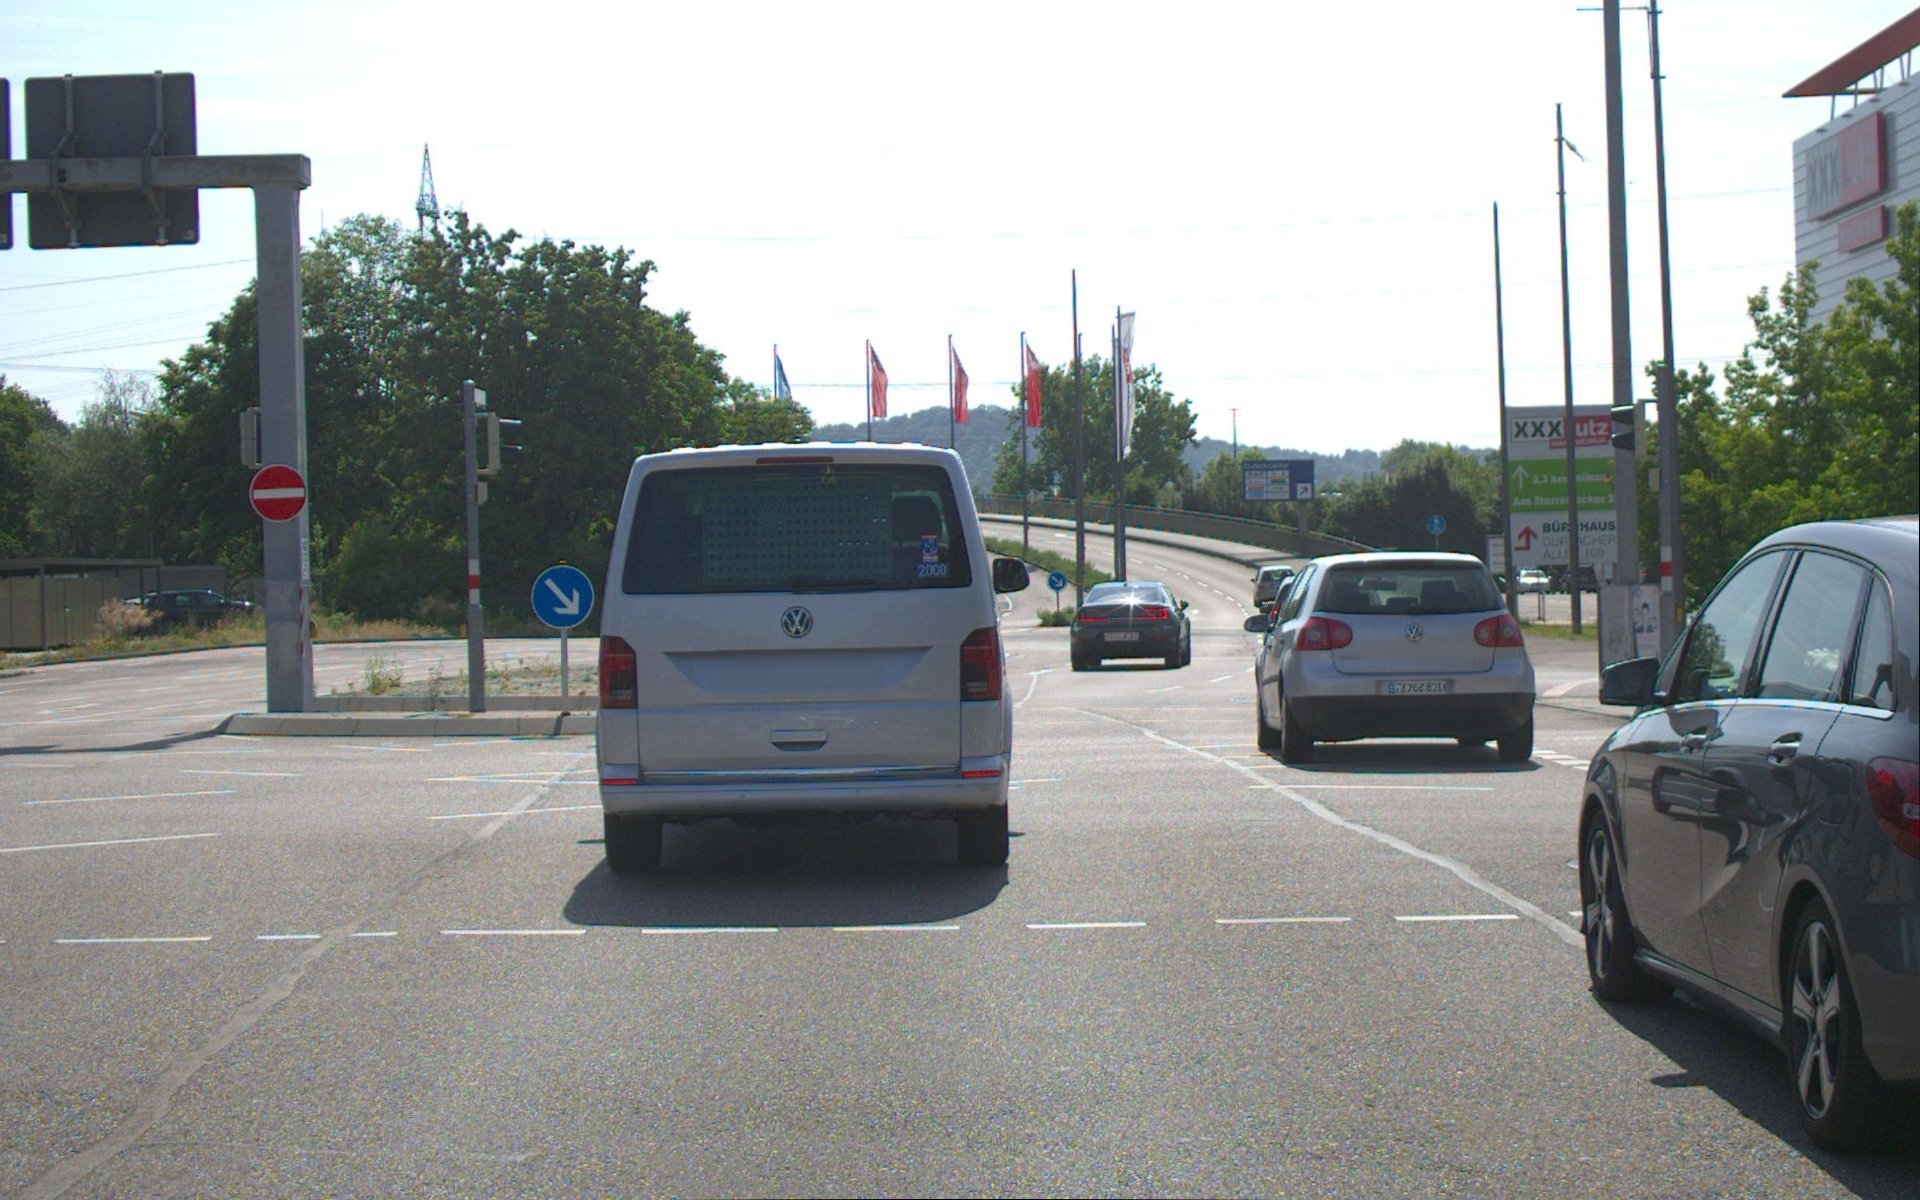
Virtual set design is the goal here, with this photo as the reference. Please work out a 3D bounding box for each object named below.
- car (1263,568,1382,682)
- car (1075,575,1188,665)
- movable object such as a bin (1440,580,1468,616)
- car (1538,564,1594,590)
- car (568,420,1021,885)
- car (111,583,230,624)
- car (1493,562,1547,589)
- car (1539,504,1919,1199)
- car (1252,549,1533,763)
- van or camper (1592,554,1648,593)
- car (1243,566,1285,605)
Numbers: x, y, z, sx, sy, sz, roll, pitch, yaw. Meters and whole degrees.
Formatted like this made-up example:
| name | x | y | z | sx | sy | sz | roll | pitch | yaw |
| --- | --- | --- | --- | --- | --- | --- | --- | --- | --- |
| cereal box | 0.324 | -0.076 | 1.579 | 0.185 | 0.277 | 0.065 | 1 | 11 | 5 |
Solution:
| name | x | y | z | sx | sy | sz | roll | pitch | yaw |
| --- | --- | --- | --- | --- | --- | --- | --- | --- | --- |
| car | 4.954 | 0.310 | 46.698 | 1.531 | 1.475 | 3.595 | 0 | 1 | 7 |
| car | 2.953 | 0.319 | 58.802 | 1.531 | 1.475 | 3.246 | 0 | 1 | 10 |
| movable object such as a bin | 15.915 | -0.066 | 110.844 | 0.810 | 1.109 | 1.182 | -1 | 0 | 4 |
| car | 35.462 | -1.331 | 201.163 | 1.993 | 1.415 | 4.001 | 1 | 0 | -9 |
| car | -0.731 | 0.202 | 16.798 | 1.917 | 1.968 | 4.297 | 0 | 1 | -1 |
| car | -28.959 | 0.126 | 126.083 | 4.098 | 1.415 | 1.729 | -1 | -1 | -19 |
| car | 32.743 | -1.409 | 201.132 | 1.883 | 1.514 | 4.001 | 1 | 0 | -9 |
| car | 2.837 | 0.517 | 9.372 | 1.773 | 1.533 | 4.138 | 0 | 1 | -1 |
| car | 3.046 | 0.355 | 24.839 | 1.667 | 1.409 | 3.682 | -1 | 1 | 2 |
| van or camper | 39.229 | -1.560 | 204.437 | 2.098 | 2.171 | 5.438 | 1 | 0 | -2 |
| car | 11.658 | -0.575 | 131.961 | 1.531 | 1.475 | 3.425 | 0 | 0 | 4 |
